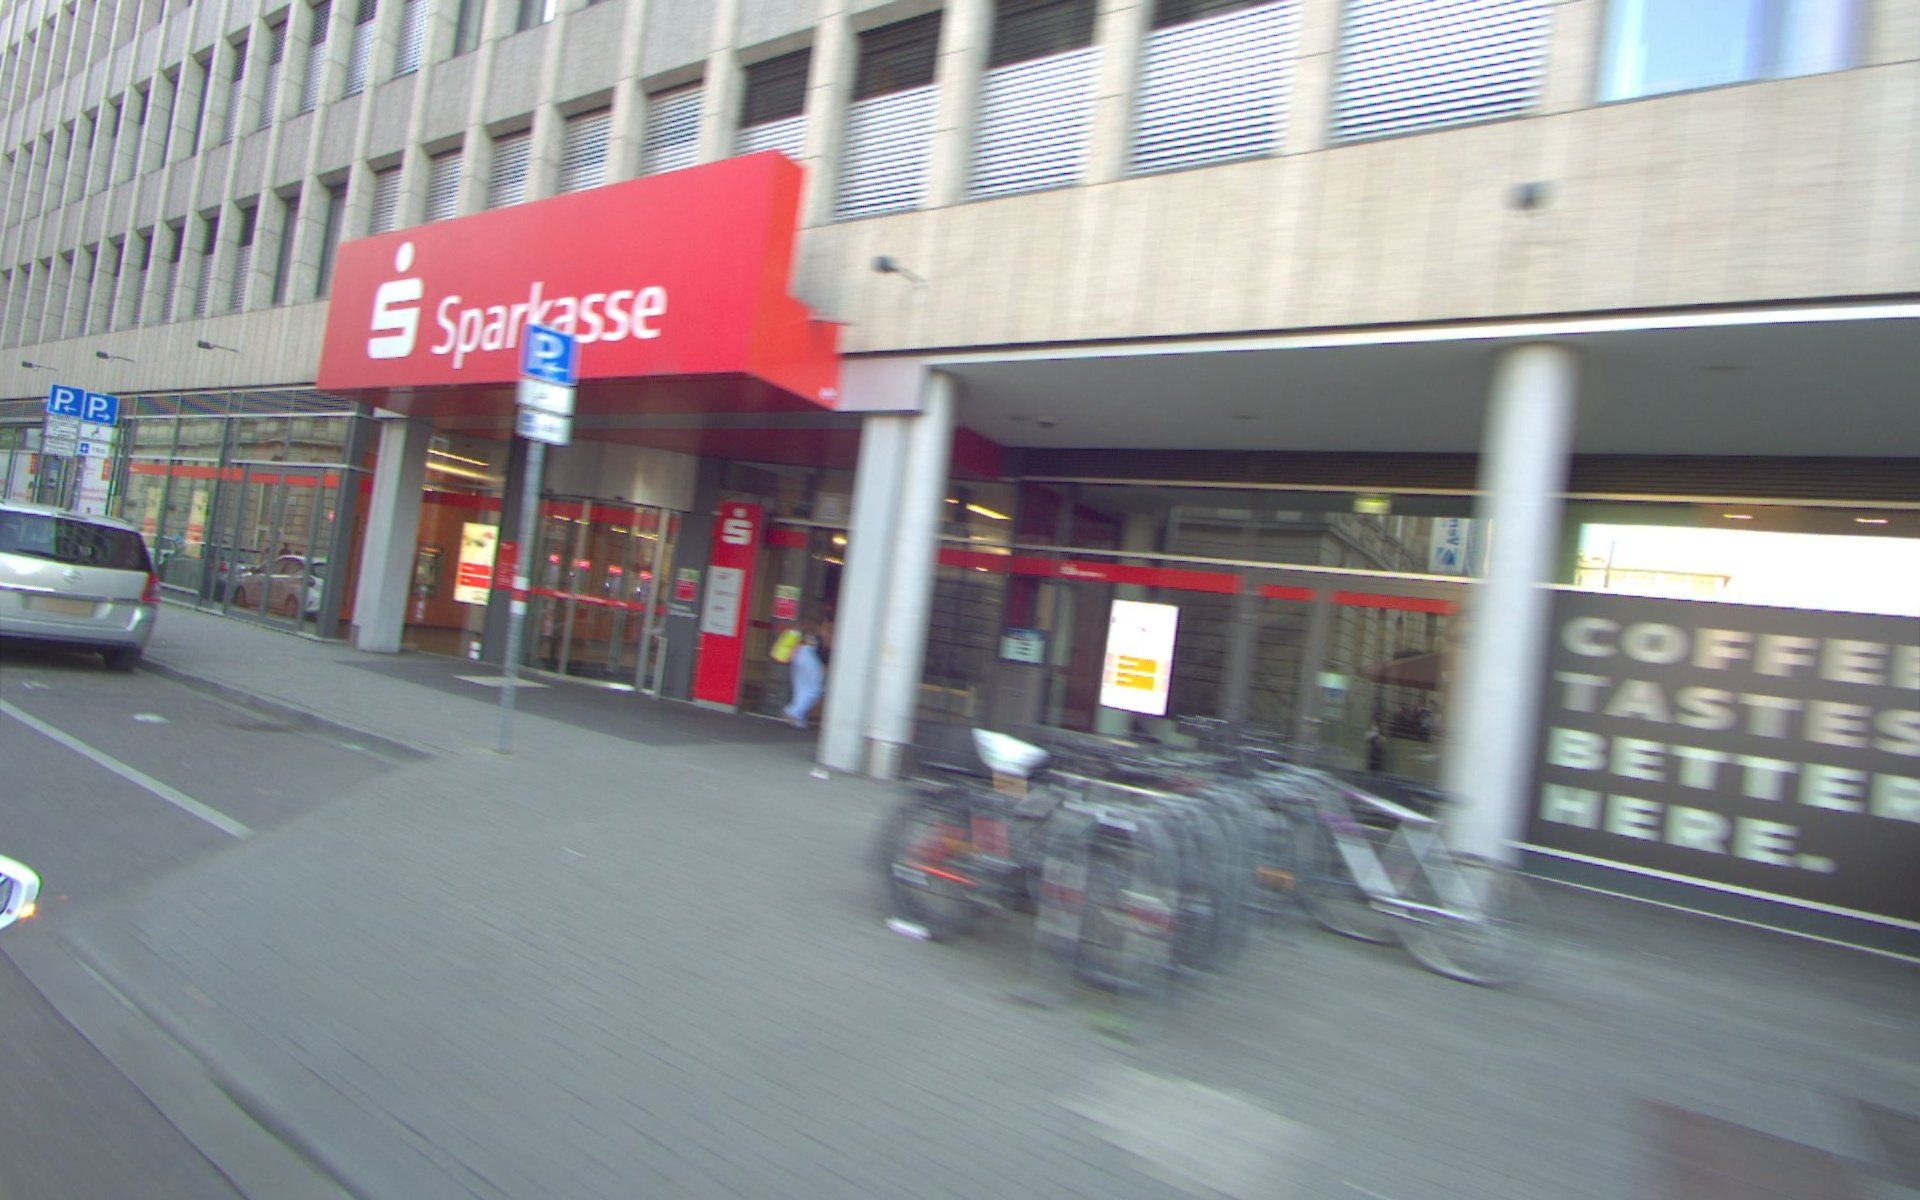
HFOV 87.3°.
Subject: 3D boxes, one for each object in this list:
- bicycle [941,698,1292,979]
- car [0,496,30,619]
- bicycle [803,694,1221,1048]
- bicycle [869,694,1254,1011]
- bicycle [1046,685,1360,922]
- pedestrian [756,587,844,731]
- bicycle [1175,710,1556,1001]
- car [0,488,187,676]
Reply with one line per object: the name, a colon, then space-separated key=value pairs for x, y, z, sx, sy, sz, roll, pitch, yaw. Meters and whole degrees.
bicycle: x=0.787 y=1.168 z=5.338 sx=1.658 sy=1.054 sz=0.559 roll=7 pitch=0 yaw=35
car: x=-15.116 y=-0.877 z=14.143 sx=4.022 sy=1.653 sz=1.775 roll=7 pitch=-4 yaw=31
bicycle: x=0.173 y=1.052 z=4.355 sx=1.658 sy=1.054 sz=0.559 roll=7 pitch=0 yaw=35
bicycle: x=0.437 y=1.095 z=4.790 sx=1.658 sy=1.054 sz=0.559 roll=7 pitch=0 yaw=35
bicycle: x=1.544 y=1.238 z=6.483 sx=1.780 sy=1.131 sz=0.546 roll=7 pitch=0 yaw=26
pedestrian: x=-2.006 y=0.737 z=12.677 sx=0.682 sy=1.681 sz=0.705 roll=7 pitch=0 yaw=14
bicycle: x=2.200 y=1.313 z=5.581 sx=1.783 sy=1.131 sz=0.545 roll=7 pitch=0 yaw=34
car: x=-10.425 y=-0.331 z=10.976 sx=3.987 sy=1.653 sz=1.774 roll=7 pitch=-4 yaw=33
